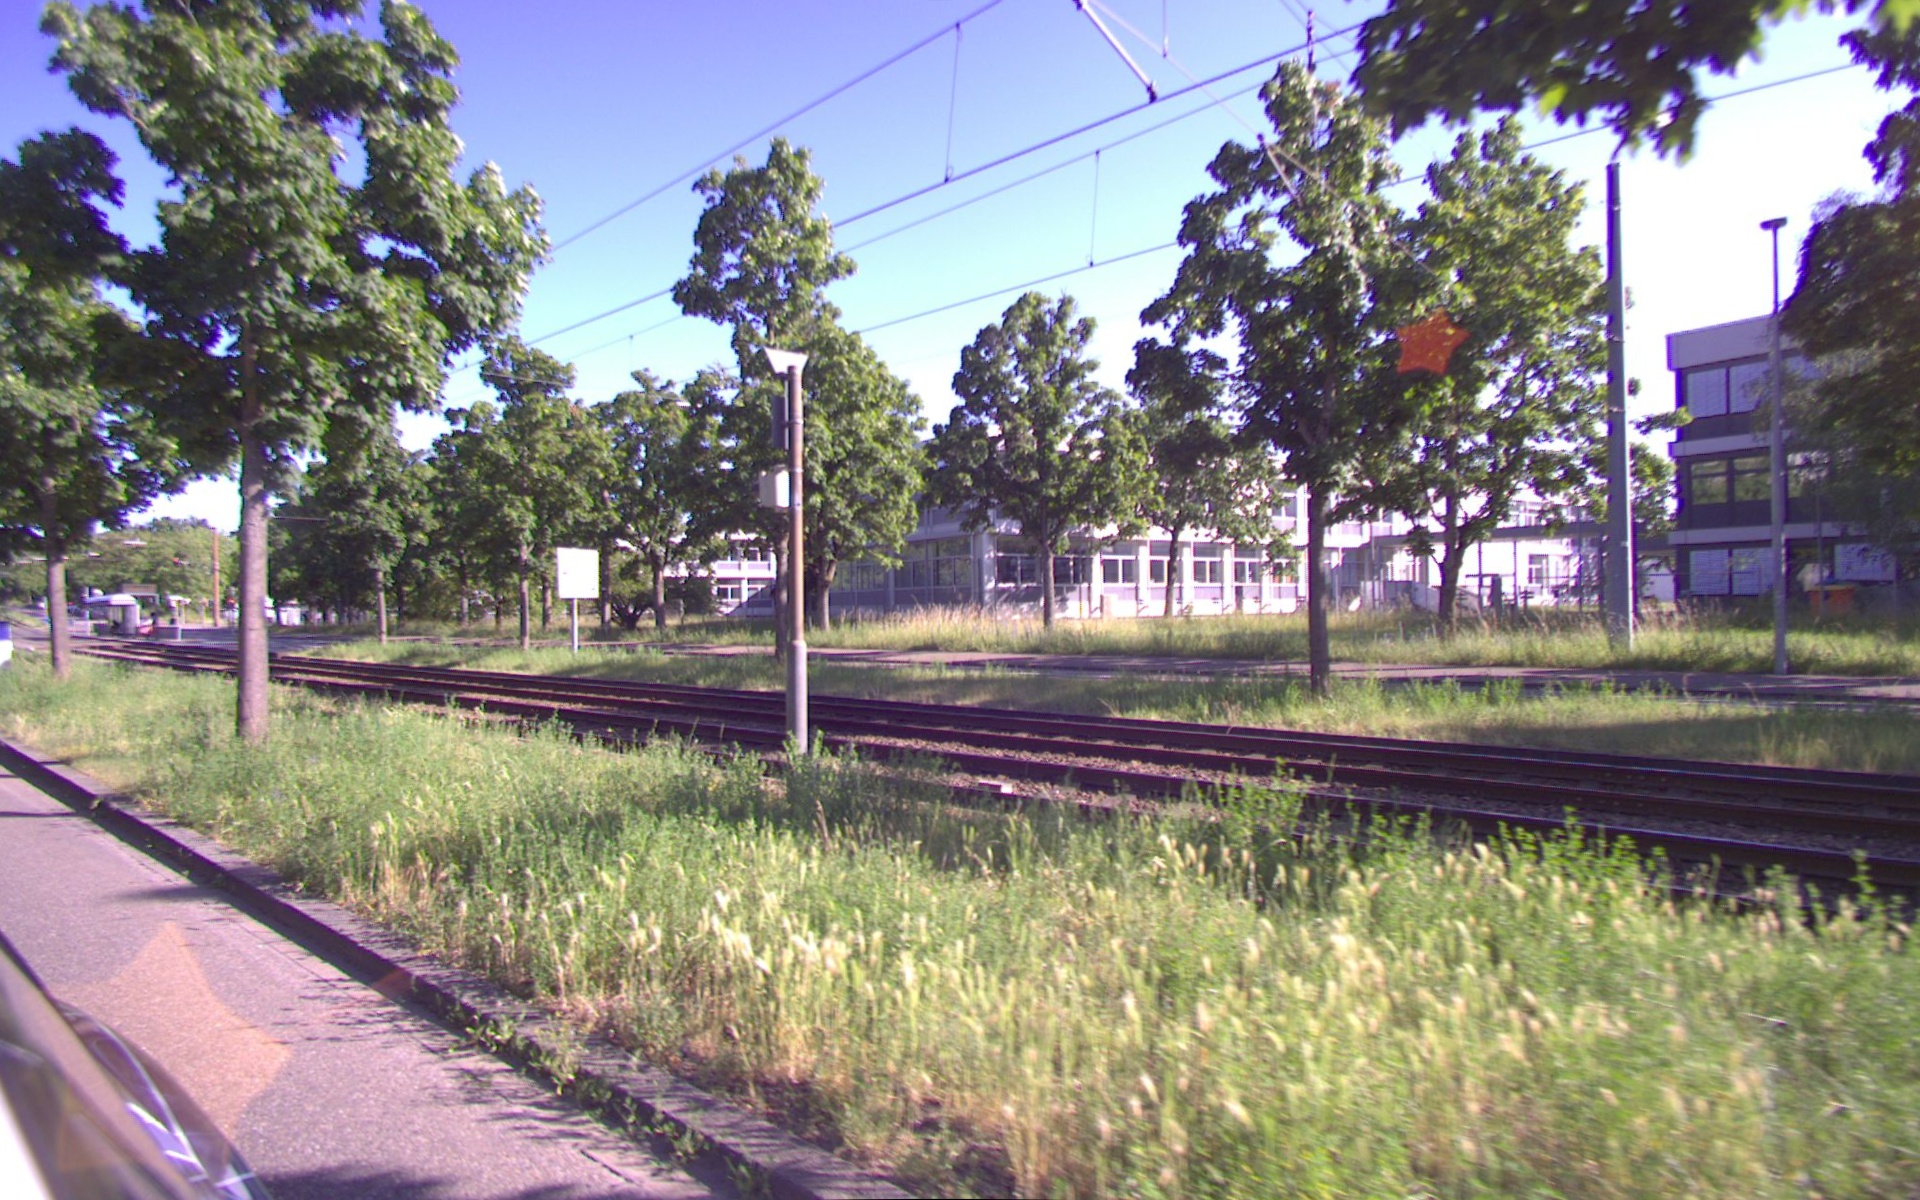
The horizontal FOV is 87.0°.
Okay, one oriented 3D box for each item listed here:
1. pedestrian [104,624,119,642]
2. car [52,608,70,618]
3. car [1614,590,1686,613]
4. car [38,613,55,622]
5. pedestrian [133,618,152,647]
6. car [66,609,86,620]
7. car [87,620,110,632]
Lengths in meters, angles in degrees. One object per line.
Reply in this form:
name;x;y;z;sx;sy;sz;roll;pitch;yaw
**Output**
pedestrian;-61.129;2.363;72.912;0.679;1.258;0.643;-1;-3;33
car;-141.493;2.097;159.360;3.455;1.597;1.679;-1;-2;41
car;41.105;0.071;60.279;4.472;1.276;1.853;-1;0;-31
car;-156.774;3.009;173.664;3.455;1.597;1.679;-1;-2;41
pedestrian;-50.617;2.005;62.688;0.781;1.765;0.775;-2;0;41
car;-131.767;2.177;150.846;3.455;1.597;1.679;-1;-2;41
car;-113.539;3.437;133.372;3.454;1.597;1.749;-1;-2;41
